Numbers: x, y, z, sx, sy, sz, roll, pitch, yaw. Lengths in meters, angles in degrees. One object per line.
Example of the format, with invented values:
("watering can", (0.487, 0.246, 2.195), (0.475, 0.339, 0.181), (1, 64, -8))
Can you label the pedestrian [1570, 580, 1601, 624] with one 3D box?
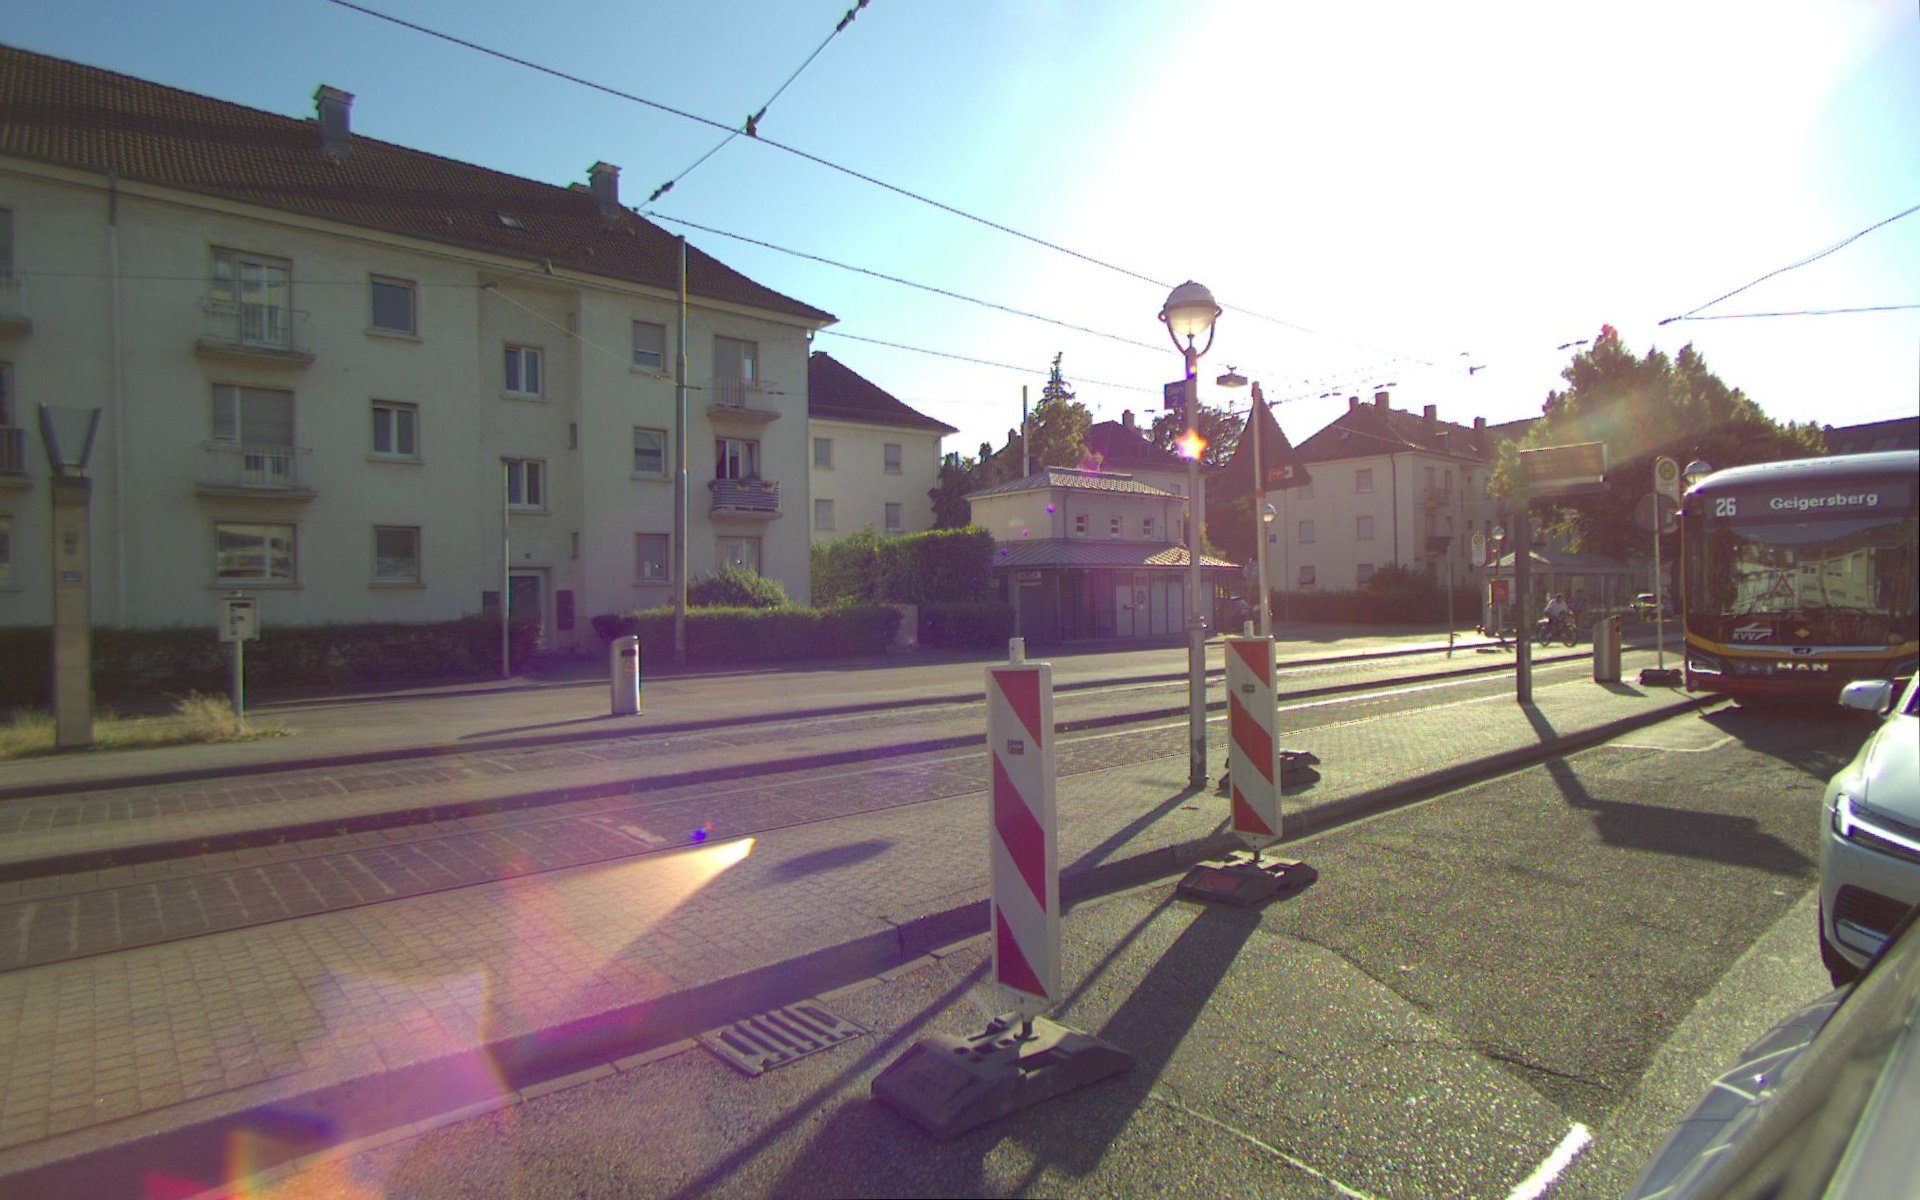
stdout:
("pedestrian", (23.236, 0.066, 37.589), (0.822, 1.631, 0.830), (0, 0, 42))

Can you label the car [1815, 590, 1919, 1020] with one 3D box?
("car", (5.272, 0.691, 4.354), (4.144, 1.472, 1.819), (-1, 1, -41))

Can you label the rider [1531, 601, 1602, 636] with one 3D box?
("rider", (18.228, 0.538, 30.461), (0.568, 1.004, 1.861), (-1, 1, -22))

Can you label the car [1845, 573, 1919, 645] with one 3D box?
("car", (21.360, 0.152, 22.451), (4.740, 1.477, 1.968), (-1, 1, -41))

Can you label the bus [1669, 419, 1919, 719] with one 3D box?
("bus", (14.444, -0.406, 15.936), (11.824, 3.345, 2.745), (-1, 0, -42))

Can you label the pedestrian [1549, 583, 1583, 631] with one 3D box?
("pedestrian", (18.223, 0.205, 30.449), (0.568, 1.398, 0.660), (-1, 0, -22))

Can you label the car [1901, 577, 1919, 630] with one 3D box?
("car", (28.926, 0.091, 29.310), (4.740, 1.477, 1.968), (-1, 1, -41))

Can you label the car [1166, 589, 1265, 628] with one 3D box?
("car", (11.742, 0.388, 46.765), (1.964, 1.694, 4.050), (-1, -1, -39))

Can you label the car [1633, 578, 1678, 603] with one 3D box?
("car", (53.960, -0.759, 78.494), (3.930, 1.887, 1.997), (-1, 1, -41))
